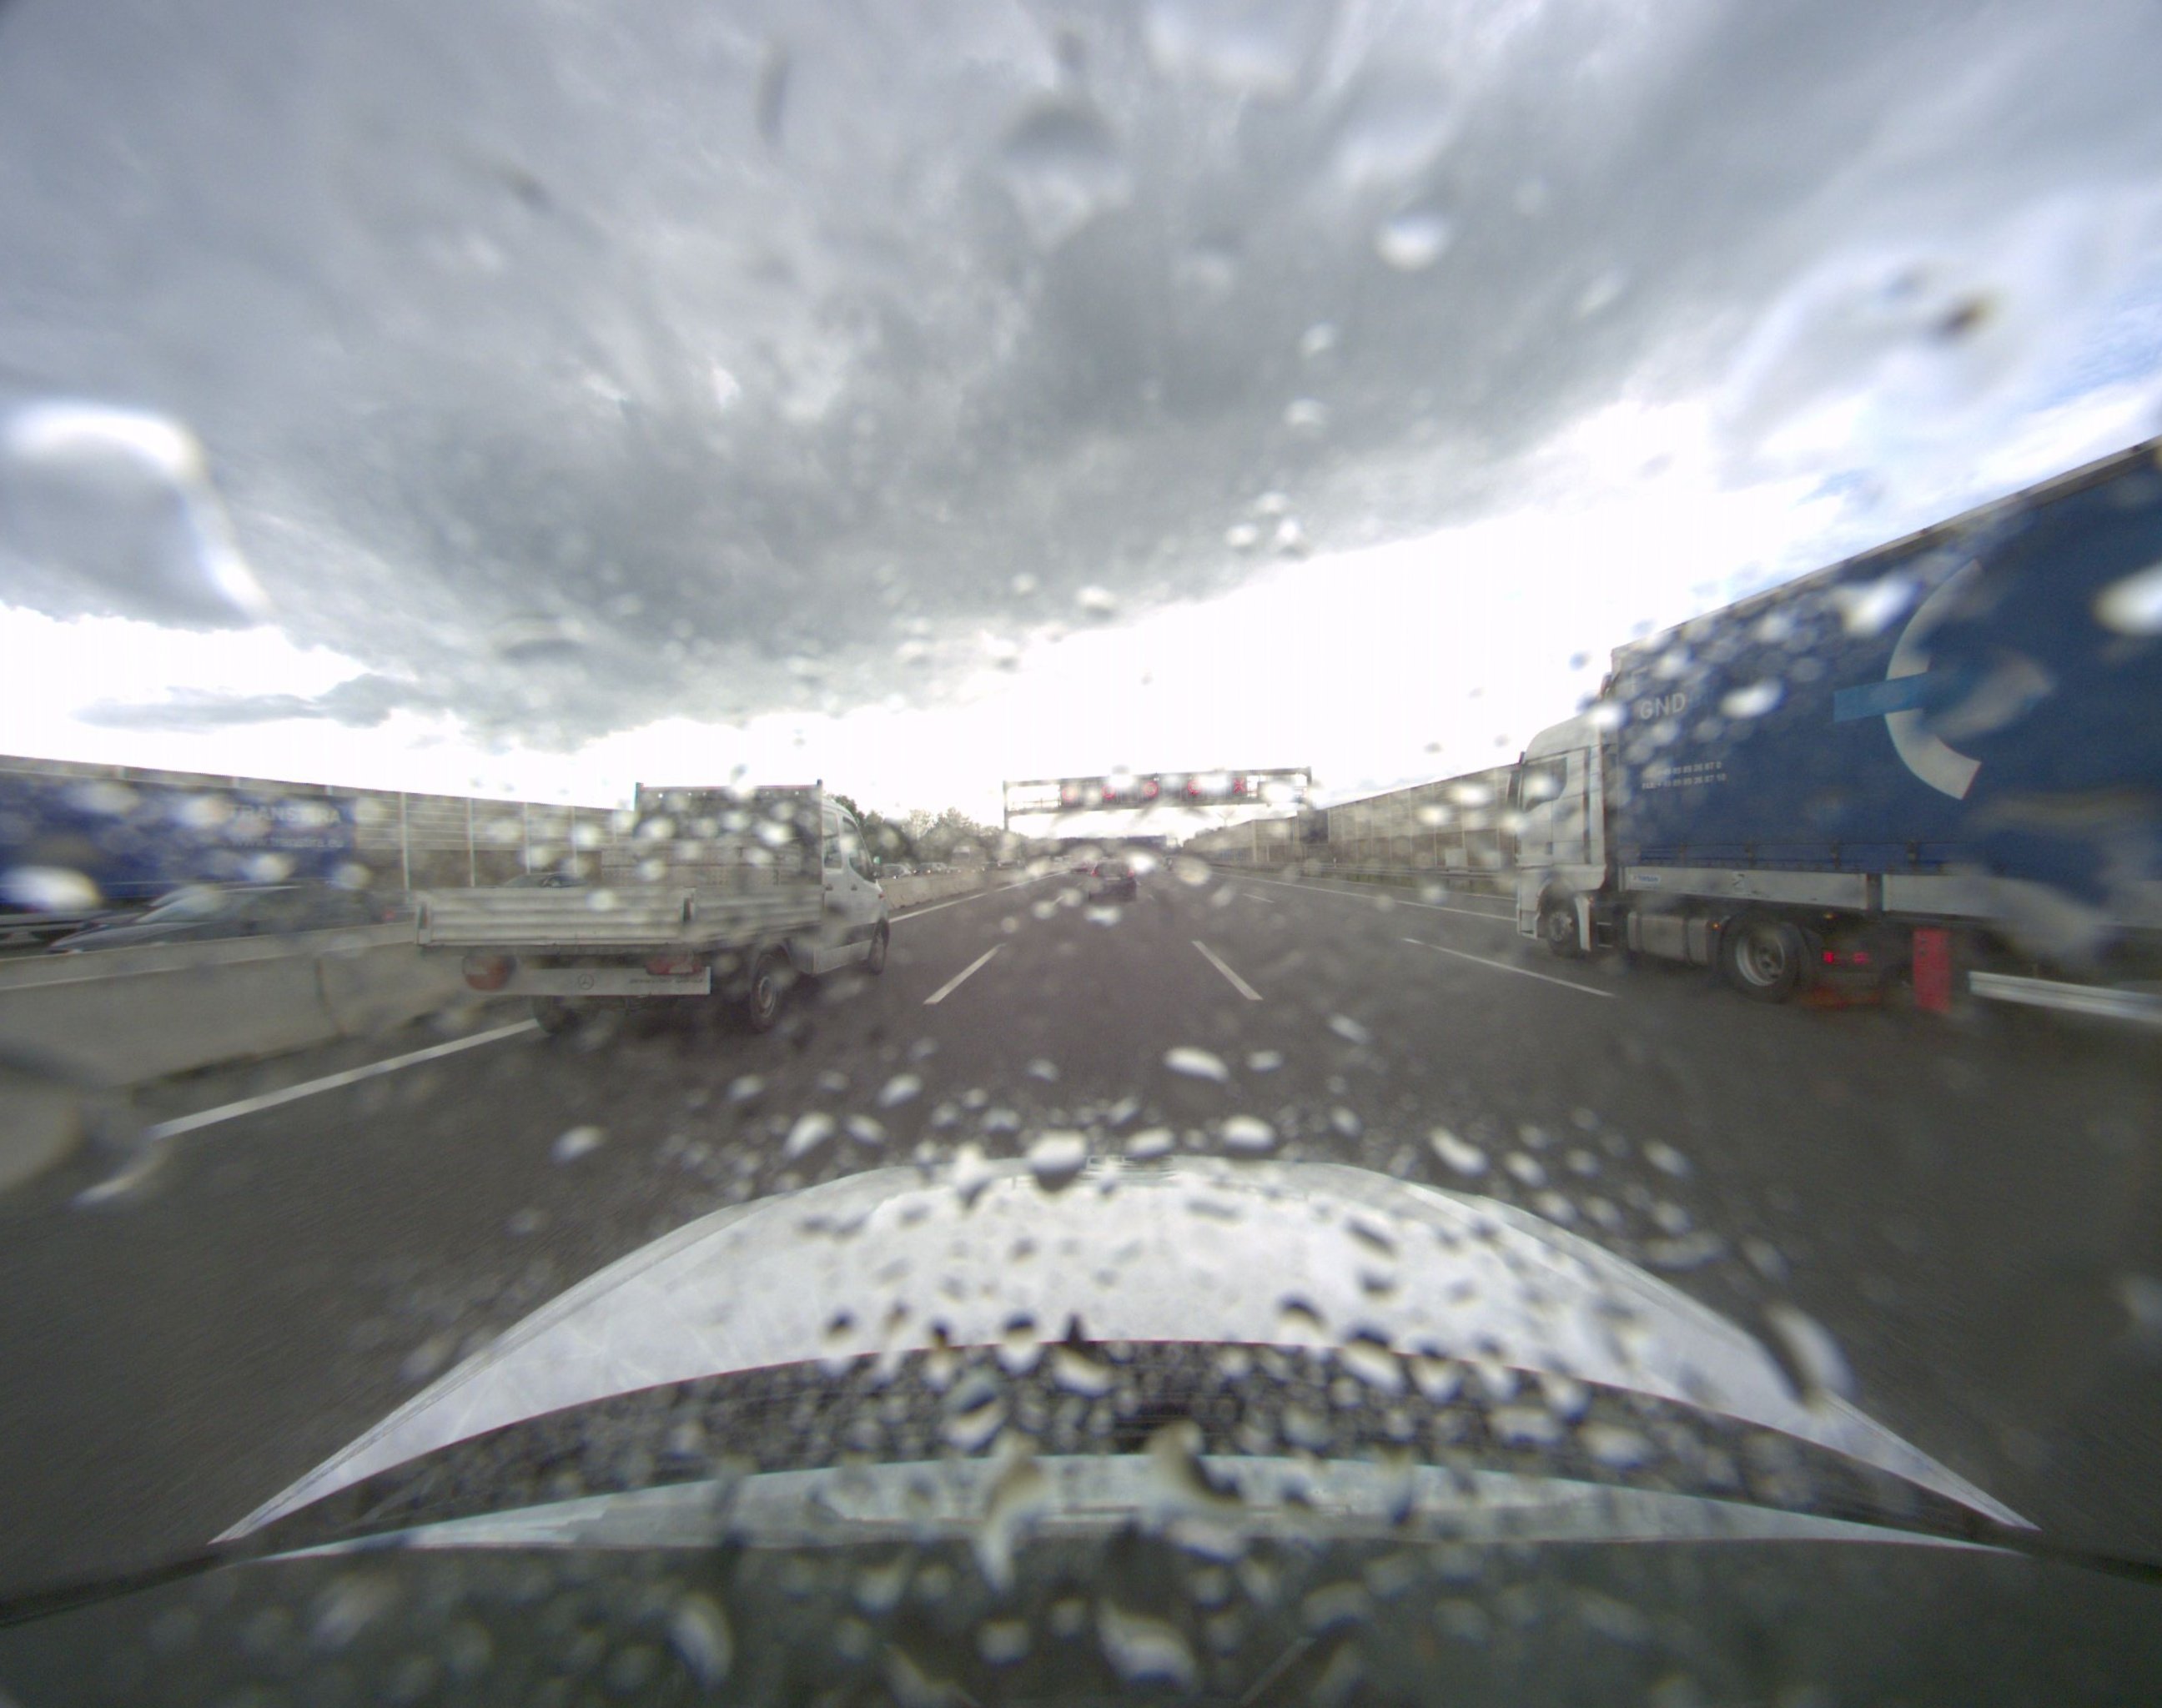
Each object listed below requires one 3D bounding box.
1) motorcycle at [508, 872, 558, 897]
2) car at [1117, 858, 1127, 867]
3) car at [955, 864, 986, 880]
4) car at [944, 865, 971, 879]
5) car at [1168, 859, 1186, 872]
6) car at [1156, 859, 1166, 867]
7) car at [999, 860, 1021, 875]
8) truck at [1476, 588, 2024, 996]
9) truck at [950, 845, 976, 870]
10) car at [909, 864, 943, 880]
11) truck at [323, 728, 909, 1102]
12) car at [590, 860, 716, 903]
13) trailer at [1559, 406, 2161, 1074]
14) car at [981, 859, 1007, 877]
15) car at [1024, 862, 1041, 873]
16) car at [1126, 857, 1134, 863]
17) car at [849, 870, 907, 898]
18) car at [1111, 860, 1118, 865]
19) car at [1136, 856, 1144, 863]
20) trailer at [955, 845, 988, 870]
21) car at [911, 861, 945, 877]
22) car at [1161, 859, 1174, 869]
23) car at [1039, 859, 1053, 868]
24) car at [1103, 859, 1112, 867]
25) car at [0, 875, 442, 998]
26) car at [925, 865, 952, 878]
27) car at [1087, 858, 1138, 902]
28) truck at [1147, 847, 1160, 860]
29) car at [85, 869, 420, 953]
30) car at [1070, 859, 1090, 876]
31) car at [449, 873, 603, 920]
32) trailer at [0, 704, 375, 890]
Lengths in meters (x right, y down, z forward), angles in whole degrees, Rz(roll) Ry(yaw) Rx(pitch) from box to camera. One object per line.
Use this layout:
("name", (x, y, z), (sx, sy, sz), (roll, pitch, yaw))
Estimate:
("motorcycle", (-24.388, 1.348, 36.283), (0.515, 1.007, 2.432), (0, 0, 2))
("car", (8.102, 1.684, 160.213), (1.959, 1.561, 4.437), (-2, -1, 3))
("car", (-10.673, 1.704, 79.034), (2.051, 1.491, 5.002), (-2, -1, 3))
("car", (-14.103, 2.039, 93.420), (2.051, 1.491, 5.002), (-2, -1, 3))
("car", (10.938, 1.317, 93.000), (1.941, 1.418, 4.237), (-2, -1, 4))
("car", (16.772, 1.862, 170.480), (1.874, 1.561, 4.437), (-2, -1, 3))
("car", (-9.431, 1.825, 108.530), (2.051, 1.880, 6.333), (-2, -1, 3))
("truck", (8.074, -0.616, 11.016), (2.735, 4.035, 5.727), (-1, 0, 1))
("truck", (-19.150, 0.554, 132.143), (2.959, 4.035, 5.731), (-1, 0, 3))
("car", (-15.202, 1.737, 80.017), (2.051, 1.491, 5.002), (-2, -1, 3))
("truck", (-3.839, 0.396, 8.984), (2.299, 2.439, 7.148), (-1, 0, 0))
("car", (-16.724, 1.032, 32.154), (2.051, 1.491, 5.002), (-2, -1, 3))
("trailer", (7.895, -0.708, 4.084), (2.751, 4.032, 14.456), (-1, 0, 1))
("car", (-9.995, 1.598, 93.733), (2.051, 1.880, 5.002), (-2, -1, 3))
("car", (-7.787, 2.141, 130.734), (2.051, 1.535, 5.475), (-2, -1, 3))
("car", (13.482, 1.610, 225.405), (1.960, 1.561, 4.435), (-2, -1, 2))
("car", (-12.422, 1.809, 50.217), (2.051, 1.491, 5.002), (-2, -1, 3))
("car", (9.951, 2.482, 241.018), (1.959, 1.561, 4.437), (-2, -1, 3))
("car", (15.066, 1.437, 208.505), (1.959, 1.561, 4.436), (-2, -1, 3))
("trailer", (-18.675, 0.573, 140.001), (2.919, 4.032, 14.465), (-1, 0, 3))
("car", (-15.067, 1.465, 80.484), (2.051, 1.491, 5.002), (-2, -1, 3))
("car", (13.690, 1.640, 129.118), (1.874, 1.542, 4.437), (-2, -1, 3))
("car", (-6.302, 1.719, 147.916), (2.051, 1.645, 5.385), (-2, -1, 3))
("car", (5.840, 1.978, 179.688), (1.959, 1.561, 4.437), (-2, -1, 3))
("car", (-13.410, 1.144, 13.159), (2.052, 1.491, 5.000), (-1, -1, 2))
("car", (-17.224, 2.065, 98.628), (2.051, 1.491, 5.002), (-2, -1, 3))
("car", (1.126, 0.895, 29.591), (1.711, 1.417, 4.280), (-1, 0, 2))
("truck", (19.432, -0.121, 218.579), (3.139, 3.602, 12.711), (0, 0, 4))
("car", (-17.738, 1.136, 17.926), (2.051, 1.491, 5.002), (-2, -1, 3))
("car", (-0.091, 1.301, 80.785), (1.710, 1.624, 4.281), (-1, 0, 3))
("car", (-20.401, 1.512, 30.280), (2.051, 1.491, 5.002), (-2, -1, 3))
("trailer", (-24.800, -1.210, 19.552), (2.751, 4.032, 14.456), (-1, 0, 1))
